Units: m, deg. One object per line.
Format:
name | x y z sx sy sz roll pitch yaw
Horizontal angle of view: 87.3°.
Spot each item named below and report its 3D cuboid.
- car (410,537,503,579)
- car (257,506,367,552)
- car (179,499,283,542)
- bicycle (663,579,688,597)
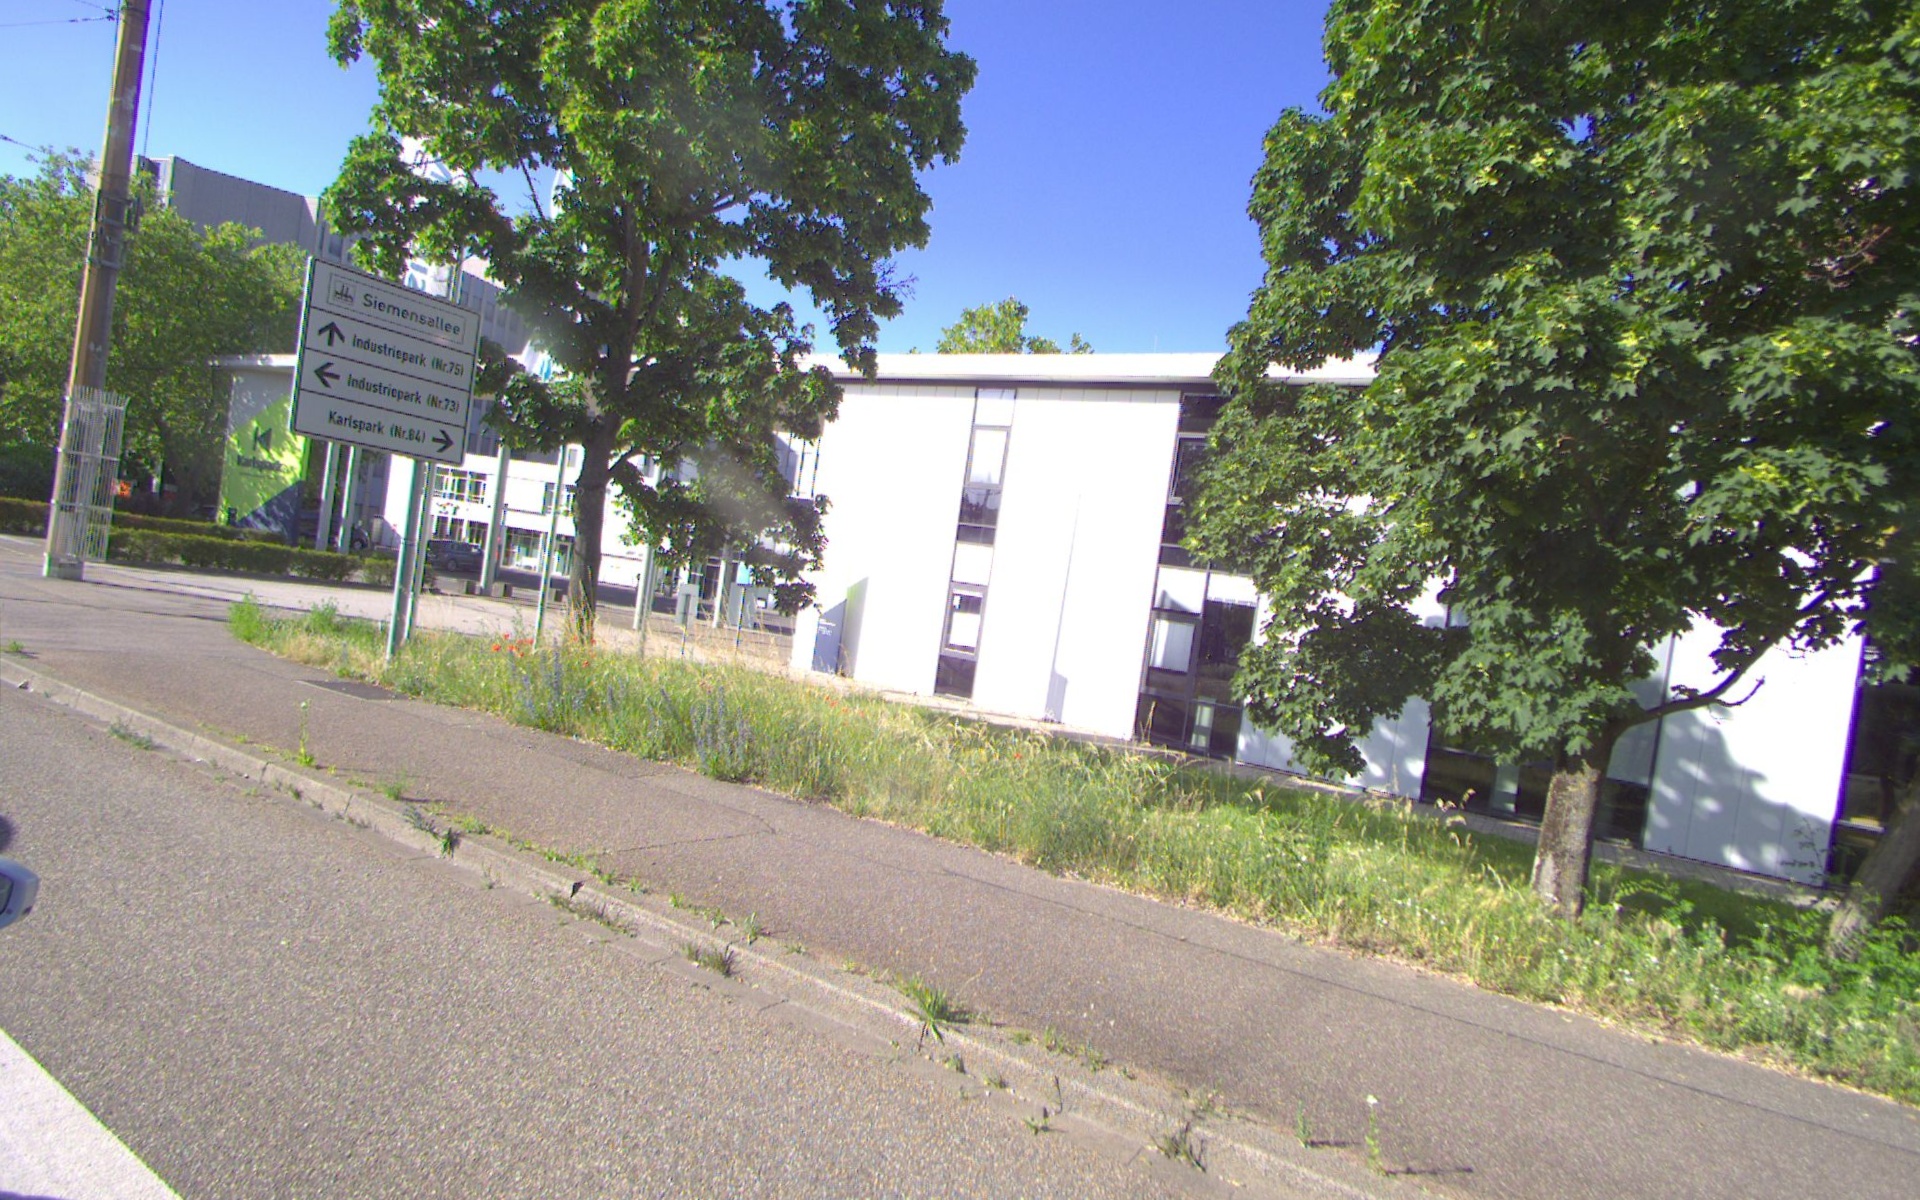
car | -26.681 -2.207 53.446 1.918 1.597 4.000 8 -1 23
car | -36.283 -3.951 56.503 2.052 1.778 4.900 8 -1 17
car | -42.658 -4.638 58.962 1.861 1.706 4.468 8 -1 26
bicycle | -20.263 -0.858 71.664 1.591 1.016 0.566 8 0 17
